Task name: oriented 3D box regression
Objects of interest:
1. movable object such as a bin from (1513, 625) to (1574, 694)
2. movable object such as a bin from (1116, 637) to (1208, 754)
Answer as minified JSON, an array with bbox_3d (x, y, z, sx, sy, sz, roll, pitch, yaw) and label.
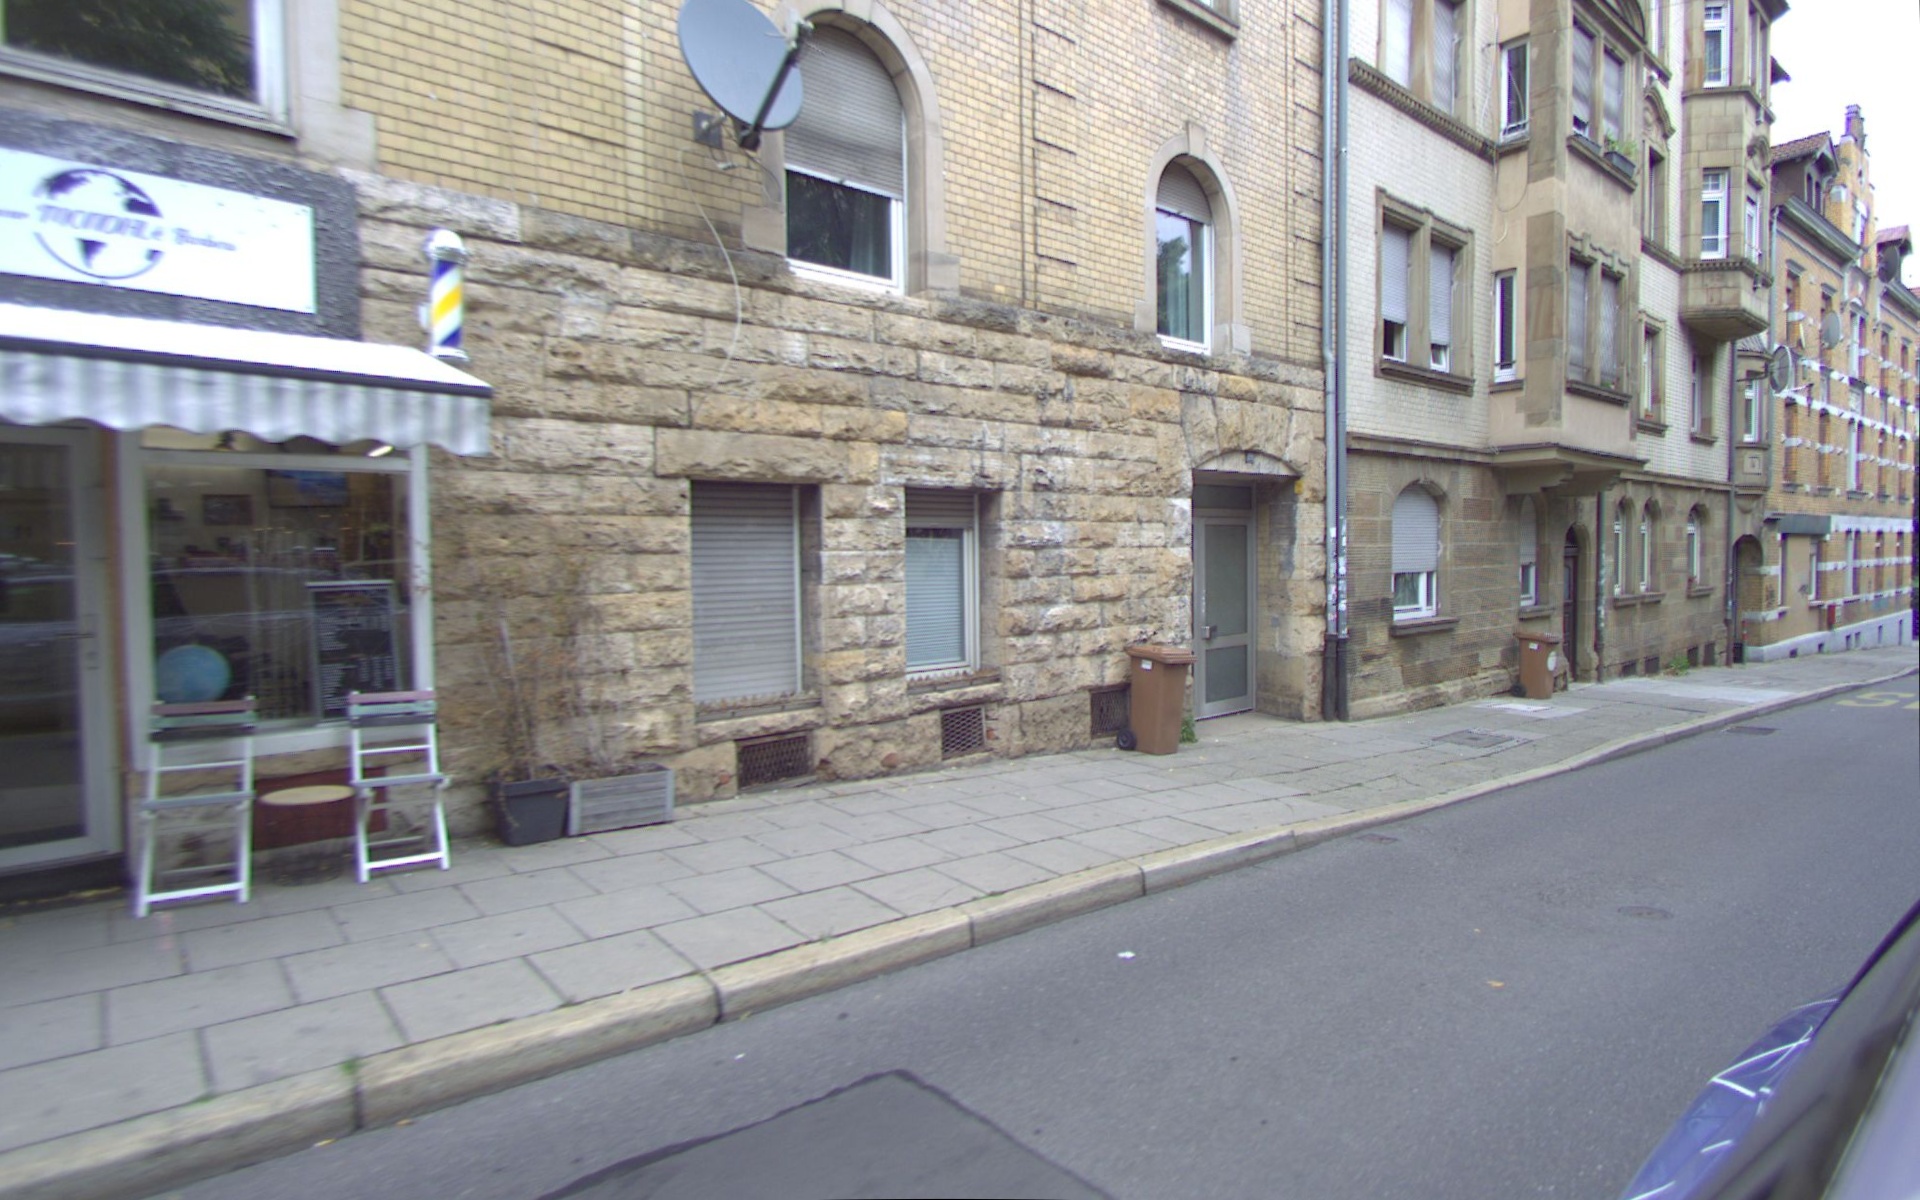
[{"bbox_3d":[8.246,0.832,14.302,0.553,0.915,0.595,0,0,-39],"label":"movable object such as a bin"},{"bbox_3d":[1.779,0.821,8.925,0.494,0.915,0.595,-4,3,-39],"label":"movable object such as a bin"}]
